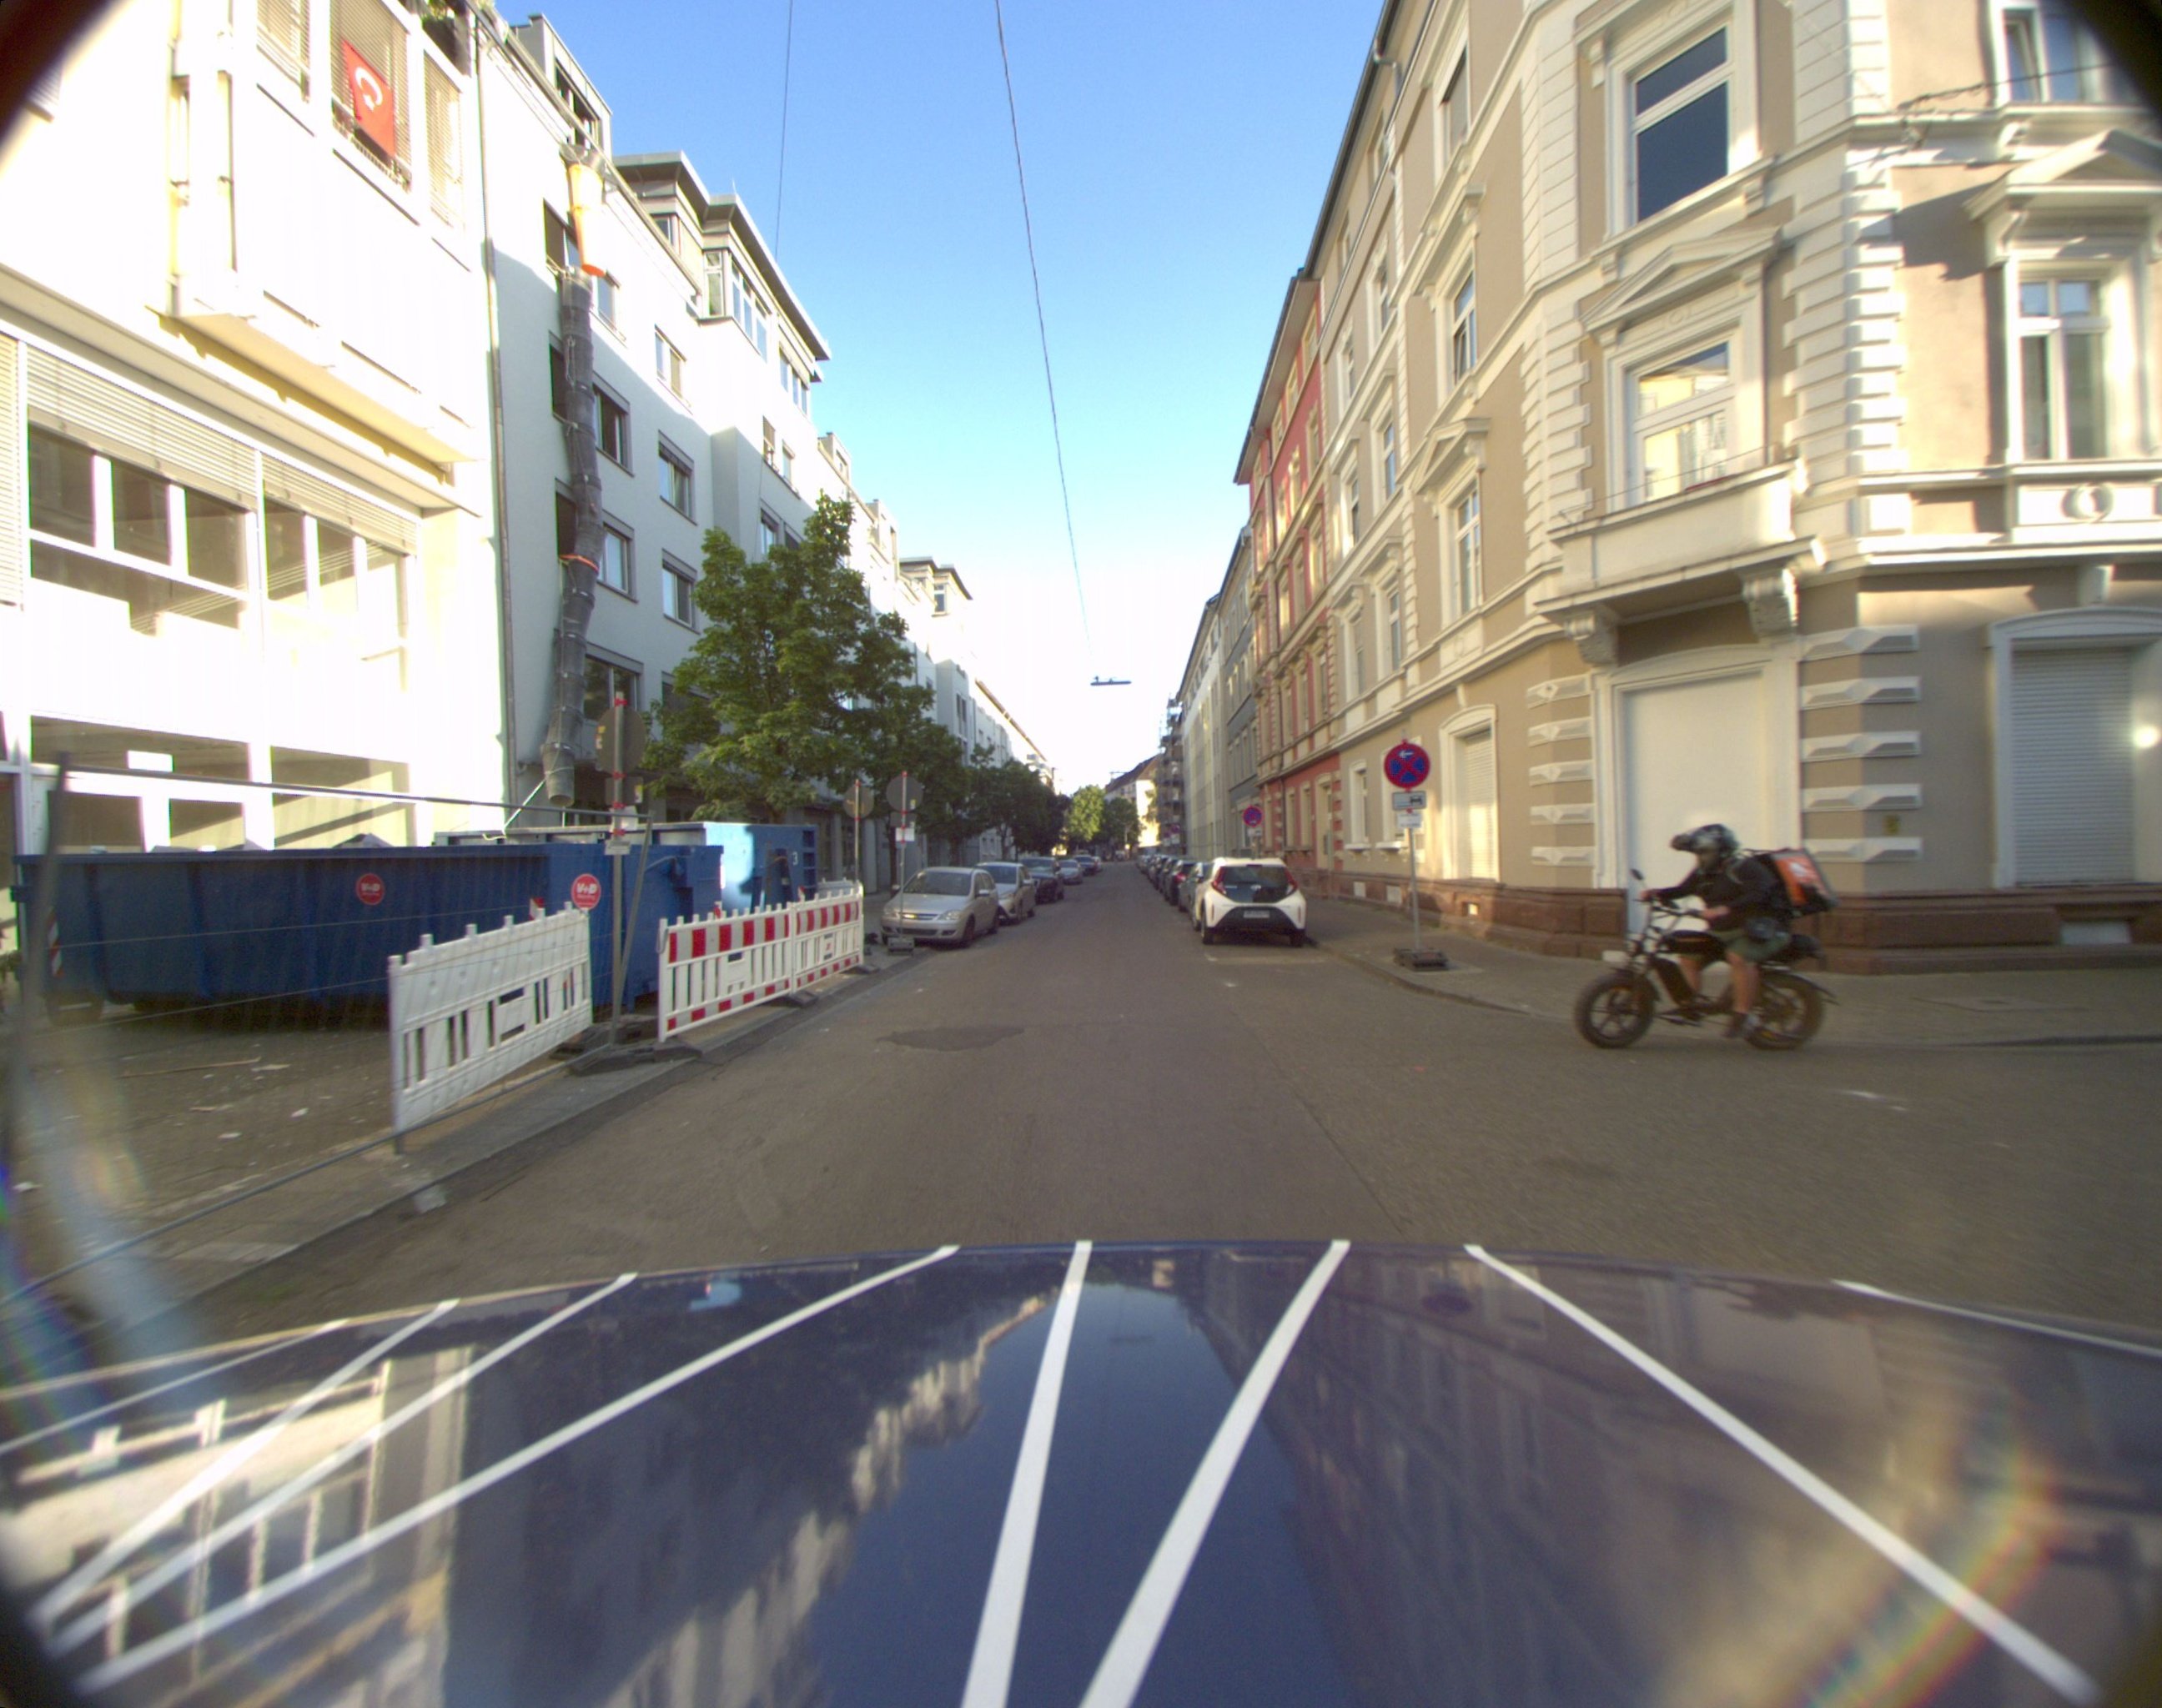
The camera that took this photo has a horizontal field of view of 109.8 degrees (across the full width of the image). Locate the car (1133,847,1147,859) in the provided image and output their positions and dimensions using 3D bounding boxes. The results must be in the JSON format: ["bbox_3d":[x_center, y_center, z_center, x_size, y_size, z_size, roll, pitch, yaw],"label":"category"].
[{"bbox_3d":[8.896,-0.169,114.201,1.998,1.783,4.001,-3,0,4],"label":"car"}]

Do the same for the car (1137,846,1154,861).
[{"bbox_3d":[7.963,-0.084,94.154,1.998,1.783,4.001,-3,0,4],"label":"car"}]

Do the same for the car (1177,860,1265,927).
[{"bbox_3d":[3.418,0.907,19.198,1.613,1.420,3.962,0,1,2],"label":"car"}]

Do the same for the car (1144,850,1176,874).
[{"bbox_3d":[5.855,0.539,56.667,1.998,1.576,4.494,-3,1,2],"label":"car"}]

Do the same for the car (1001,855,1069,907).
[{"bbox_3d":[-1.647,0.963,28.703,1.863,1.679,4.391,-3,0,5],"label":"car"}]

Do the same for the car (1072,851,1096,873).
[{"bbox_3d":[0.271,0.629,61.530,1.855,1.649,4.000,-3,0,1],"label":"car"}]

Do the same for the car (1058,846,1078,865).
[{"bbox_3d":[-1.466,0.167,88.214,1.998,2.002,4.000,-3,0,2],"label":"car"}]

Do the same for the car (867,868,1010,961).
[{"bbox_3d":[-2.667,1.087,15.192,1.637,1.439,4.068,-3,0,6],"label":"car"}]

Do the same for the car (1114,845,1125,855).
[{"bbox_3d":[7.323,-0.752,144.324,1.998,1.783,4.001,-3,0,4],"label":"car"}]

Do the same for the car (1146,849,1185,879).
[{"bbox_3d":[5.147,0.557,46.767,1.998,1.640,4.494,-3,1,2],"label":"car"}]

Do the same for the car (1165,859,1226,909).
[{"bbox_3d":[3.623,0.902,24.623,1.588,1.407,3.913,2,1,4],"label":"car"}]

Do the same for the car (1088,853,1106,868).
[{"bbox_3d":[1.727,0.700,81.563,1.855,1.480,4.000,-3,0,2],"label":"car"}]

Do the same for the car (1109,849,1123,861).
[{"bbox_3d":[5.489,0.167,118.963,1.998,1.783,4.001,-3,0,4],"label":"car"}]

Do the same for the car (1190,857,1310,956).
[{"bbox_3d":[3.010,0.854,14.248,1.688,1.487,3.845,1,1,5],"label":"car"}]

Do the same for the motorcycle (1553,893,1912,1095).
[{"bbox_3d":[4.512,0.965,5.433,1.695,1.242,0.808,-4,-1,16],"label":"motorcycle"}]

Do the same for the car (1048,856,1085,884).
[{"bbox_3d":[-0.814,0.924,44.937,1.855,1.480,4.000,-3,0,2],"label":"car"}]

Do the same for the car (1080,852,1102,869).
[{"bbox_3d":[1.008,0.604,73.831,1.902,1.510,4.224,-3,0,2],"label":"car"}]

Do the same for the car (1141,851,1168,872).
[{"bbox_3d":[5.878,0.596,61.376,1.998,1.566,4.150,-3,0,4],"label":"car"}]

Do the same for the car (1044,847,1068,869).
[{"bbox_3d":[-2.420,0.406,74.254,1.998,2.002,4.000,-3,0,2],"label":"car"}]

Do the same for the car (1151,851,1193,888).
[{"bbox_3d":[4.212,0.667,35.749,1.597,1.513,4.430,-3,1,3],"label":"car"}]

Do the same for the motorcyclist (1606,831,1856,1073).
[{"bbox_3d":[4.565,0.666,5.446,0.998,1.558,0.875,-4,-1,16],"label":"motorcyclist"}]

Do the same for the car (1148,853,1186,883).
[{"bbox_3d":[4.664,0.732,41.671,1.661,1.420,4.353,-3,1,2],"label":"car"}]

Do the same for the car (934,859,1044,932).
[{"bbox_3d":[-2.249,0.992,19.766,1.912,1.576,4.001,-3,0,6],"label":"car"}]

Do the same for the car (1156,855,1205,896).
[{"bbox_3d":[3.961,0.823,30.746,1.537,1.490,4.196,-1,1,2],"label":"car"}]

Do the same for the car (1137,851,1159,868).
[{"bbox_3d":[7.159,0.569,81.509,1.998,1.576,4.494,-3,1,2],"label":"car"}]

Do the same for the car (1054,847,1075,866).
[{"bbox_3d":[-1.814,0.279,83.737,1.998,2.002,4.000,-3,0,2],"label":"car"}]
